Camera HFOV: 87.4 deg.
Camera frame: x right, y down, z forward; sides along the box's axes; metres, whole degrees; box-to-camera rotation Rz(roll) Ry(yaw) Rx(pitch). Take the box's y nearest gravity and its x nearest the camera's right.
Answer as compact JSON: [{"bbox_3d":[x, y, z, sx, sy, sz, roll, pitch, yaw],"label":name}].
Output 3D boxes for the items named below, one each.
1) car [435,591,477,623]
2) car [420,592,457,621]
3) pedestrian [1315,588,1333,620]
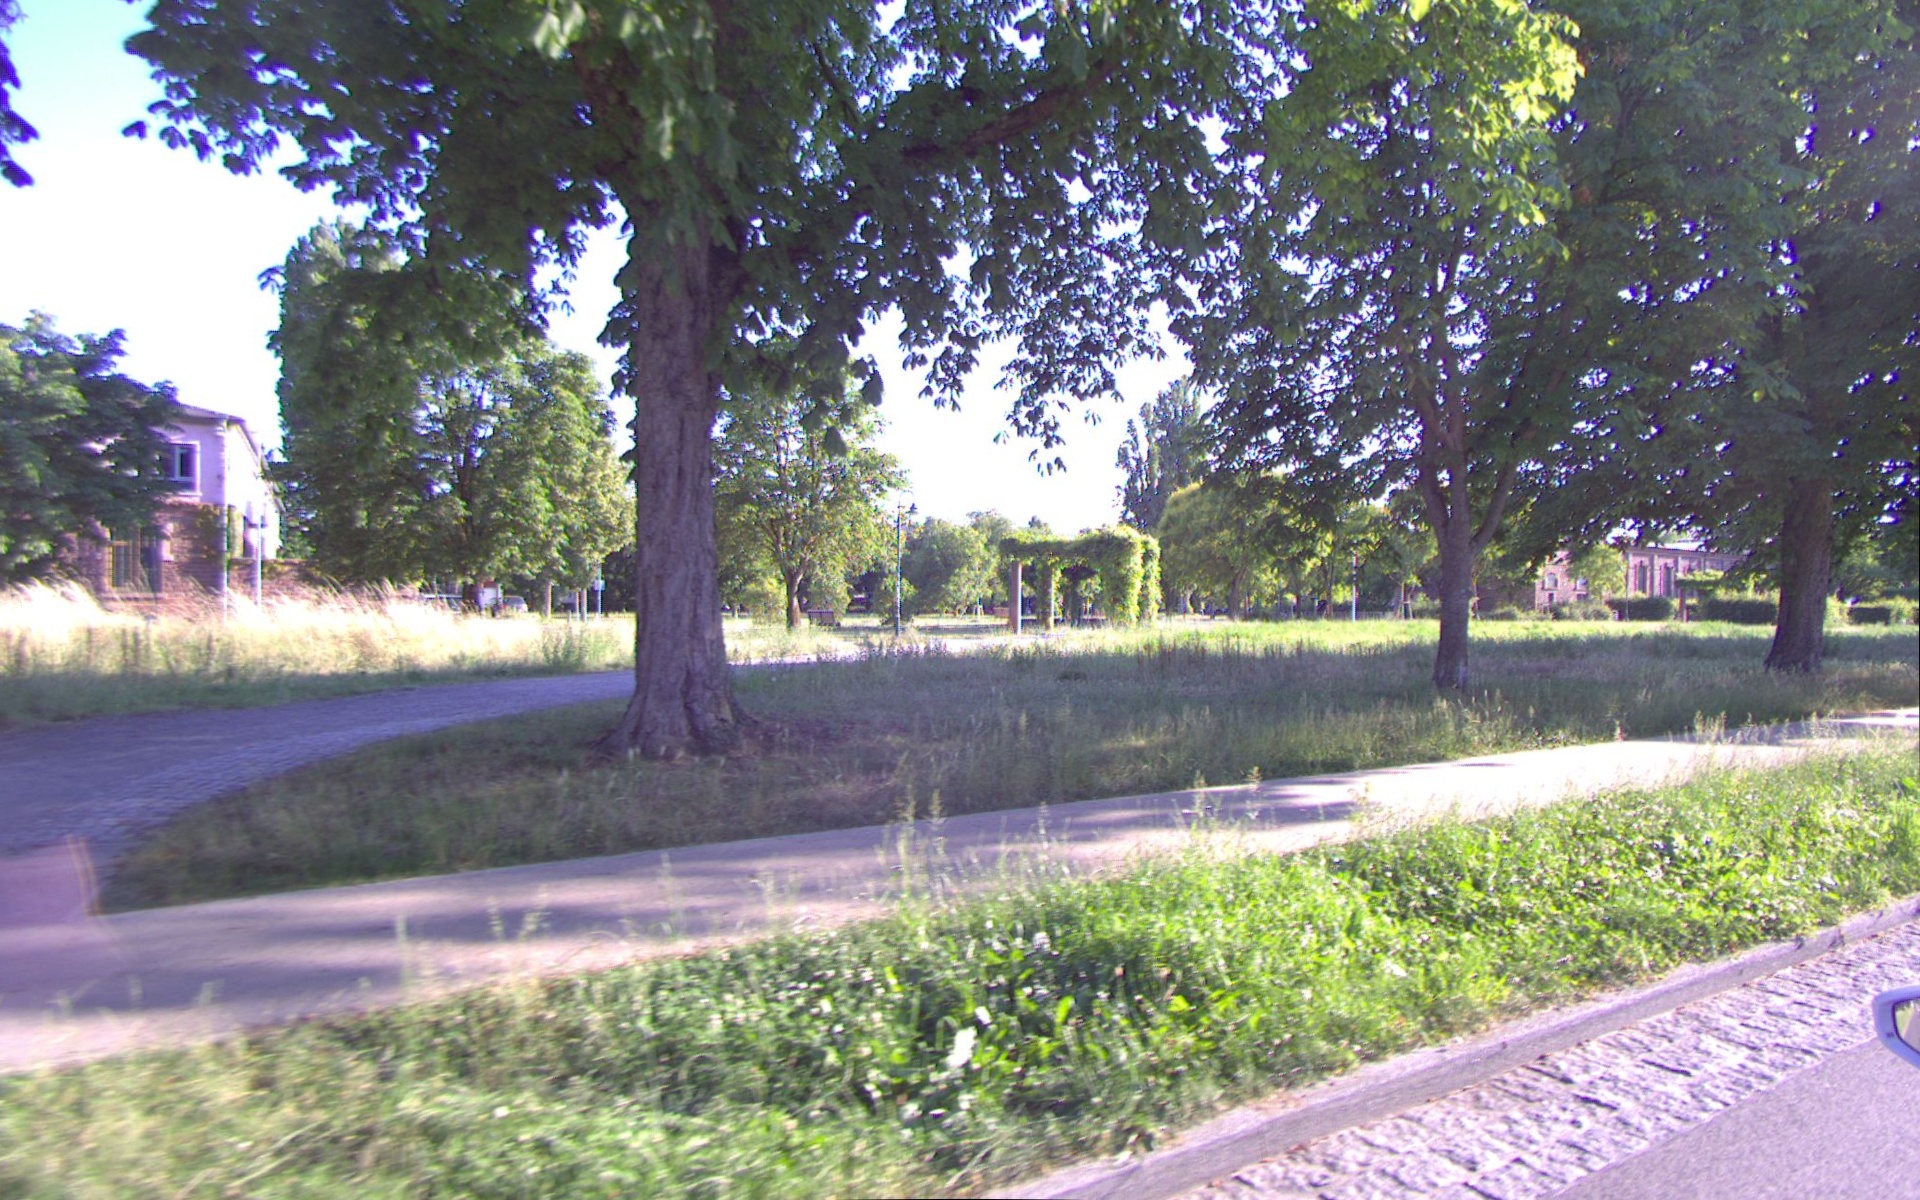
[{"bbox_3d":[-22.425,0.289,44.655,1.566,1.297,3.613,1,1,-28],"label":"car"},{"bbox_3d":[-25.751,0.286,49.606,1.566,1.297,3.613,1,1,-28],"label":"car"},{"bbox_3d":[20.421,0.233,56.296,0.764,1.747,0.714,2,1,32],"label":"pedestrian"}]
